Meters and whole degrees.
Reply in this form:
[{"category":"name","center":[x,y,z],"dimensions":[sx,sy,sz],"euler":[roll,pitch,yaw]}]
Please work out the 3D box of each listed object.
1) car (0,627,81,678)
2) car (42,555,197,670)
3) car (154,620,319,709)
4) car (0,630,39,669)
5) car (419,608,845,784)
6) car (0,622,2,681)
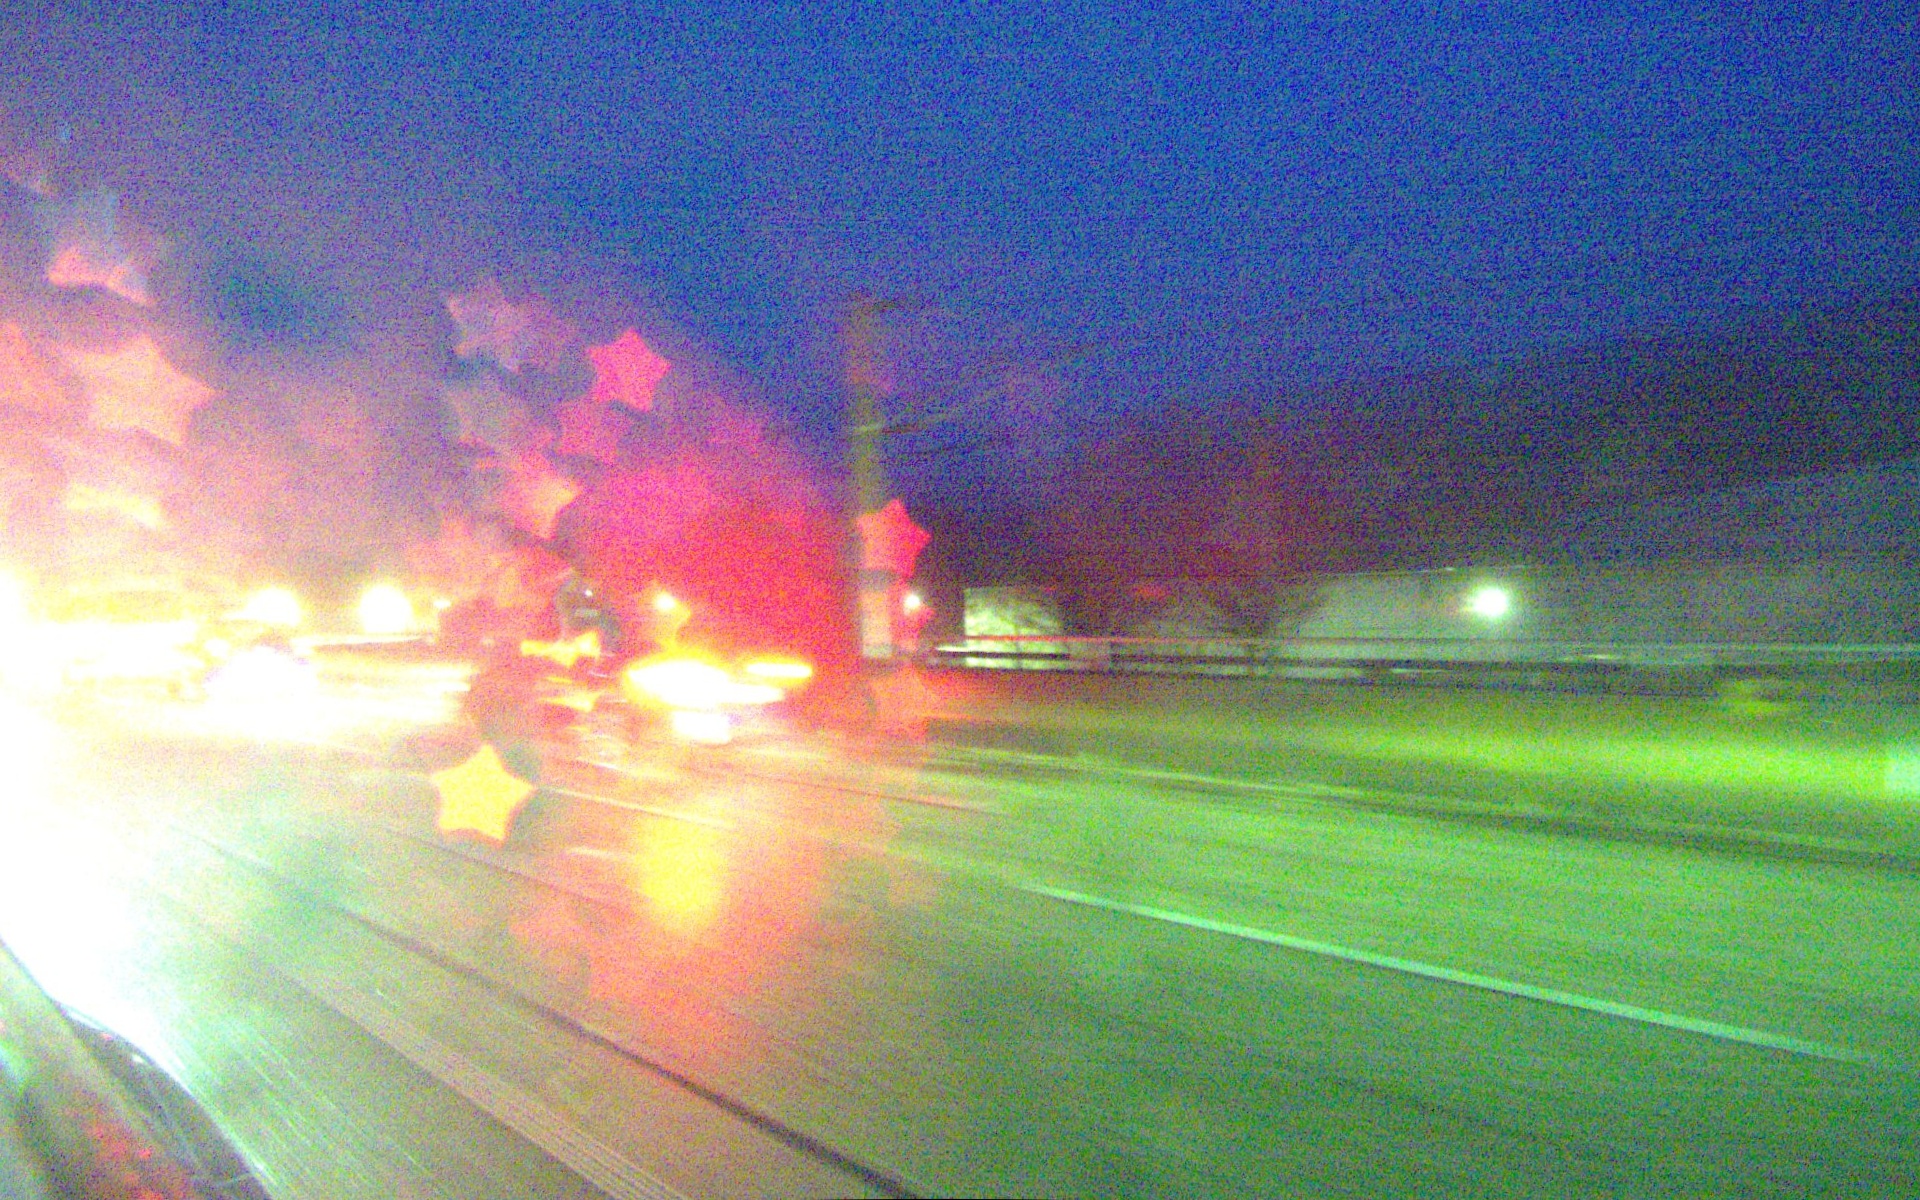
[{"category":"car","center":[-32.301,1.801,35.433],"dimensions":[4.309,1.600,1.703],"euler":[-2,-1,41]},{"category":"car","center":[-22.318,0.367,26.769],"dimensions":[6.236,2.728,2.101],"euler":[-2,-1,40]},{"category":"car","center":[-14.507,1.218,20.223],"dimensions":[3.986,1.548,1.859],"euler":[-2,-1,42]},{"category":"car","center":[-38.874,1.994,41.119],"dimensions":[3.825,1.519,1.702],"euler":[-2,-1,41]},{"category":"car","center":[-3.727,0.879,10.976],"dimensions":[4.988,1.460,2.056],"euler":[-2,-1,40]},{"category":"car","center":[-28.951,1.502,28.806],"dimensions":[4.408,1.642,1.788],"euler":[-2,-1,37]}]
